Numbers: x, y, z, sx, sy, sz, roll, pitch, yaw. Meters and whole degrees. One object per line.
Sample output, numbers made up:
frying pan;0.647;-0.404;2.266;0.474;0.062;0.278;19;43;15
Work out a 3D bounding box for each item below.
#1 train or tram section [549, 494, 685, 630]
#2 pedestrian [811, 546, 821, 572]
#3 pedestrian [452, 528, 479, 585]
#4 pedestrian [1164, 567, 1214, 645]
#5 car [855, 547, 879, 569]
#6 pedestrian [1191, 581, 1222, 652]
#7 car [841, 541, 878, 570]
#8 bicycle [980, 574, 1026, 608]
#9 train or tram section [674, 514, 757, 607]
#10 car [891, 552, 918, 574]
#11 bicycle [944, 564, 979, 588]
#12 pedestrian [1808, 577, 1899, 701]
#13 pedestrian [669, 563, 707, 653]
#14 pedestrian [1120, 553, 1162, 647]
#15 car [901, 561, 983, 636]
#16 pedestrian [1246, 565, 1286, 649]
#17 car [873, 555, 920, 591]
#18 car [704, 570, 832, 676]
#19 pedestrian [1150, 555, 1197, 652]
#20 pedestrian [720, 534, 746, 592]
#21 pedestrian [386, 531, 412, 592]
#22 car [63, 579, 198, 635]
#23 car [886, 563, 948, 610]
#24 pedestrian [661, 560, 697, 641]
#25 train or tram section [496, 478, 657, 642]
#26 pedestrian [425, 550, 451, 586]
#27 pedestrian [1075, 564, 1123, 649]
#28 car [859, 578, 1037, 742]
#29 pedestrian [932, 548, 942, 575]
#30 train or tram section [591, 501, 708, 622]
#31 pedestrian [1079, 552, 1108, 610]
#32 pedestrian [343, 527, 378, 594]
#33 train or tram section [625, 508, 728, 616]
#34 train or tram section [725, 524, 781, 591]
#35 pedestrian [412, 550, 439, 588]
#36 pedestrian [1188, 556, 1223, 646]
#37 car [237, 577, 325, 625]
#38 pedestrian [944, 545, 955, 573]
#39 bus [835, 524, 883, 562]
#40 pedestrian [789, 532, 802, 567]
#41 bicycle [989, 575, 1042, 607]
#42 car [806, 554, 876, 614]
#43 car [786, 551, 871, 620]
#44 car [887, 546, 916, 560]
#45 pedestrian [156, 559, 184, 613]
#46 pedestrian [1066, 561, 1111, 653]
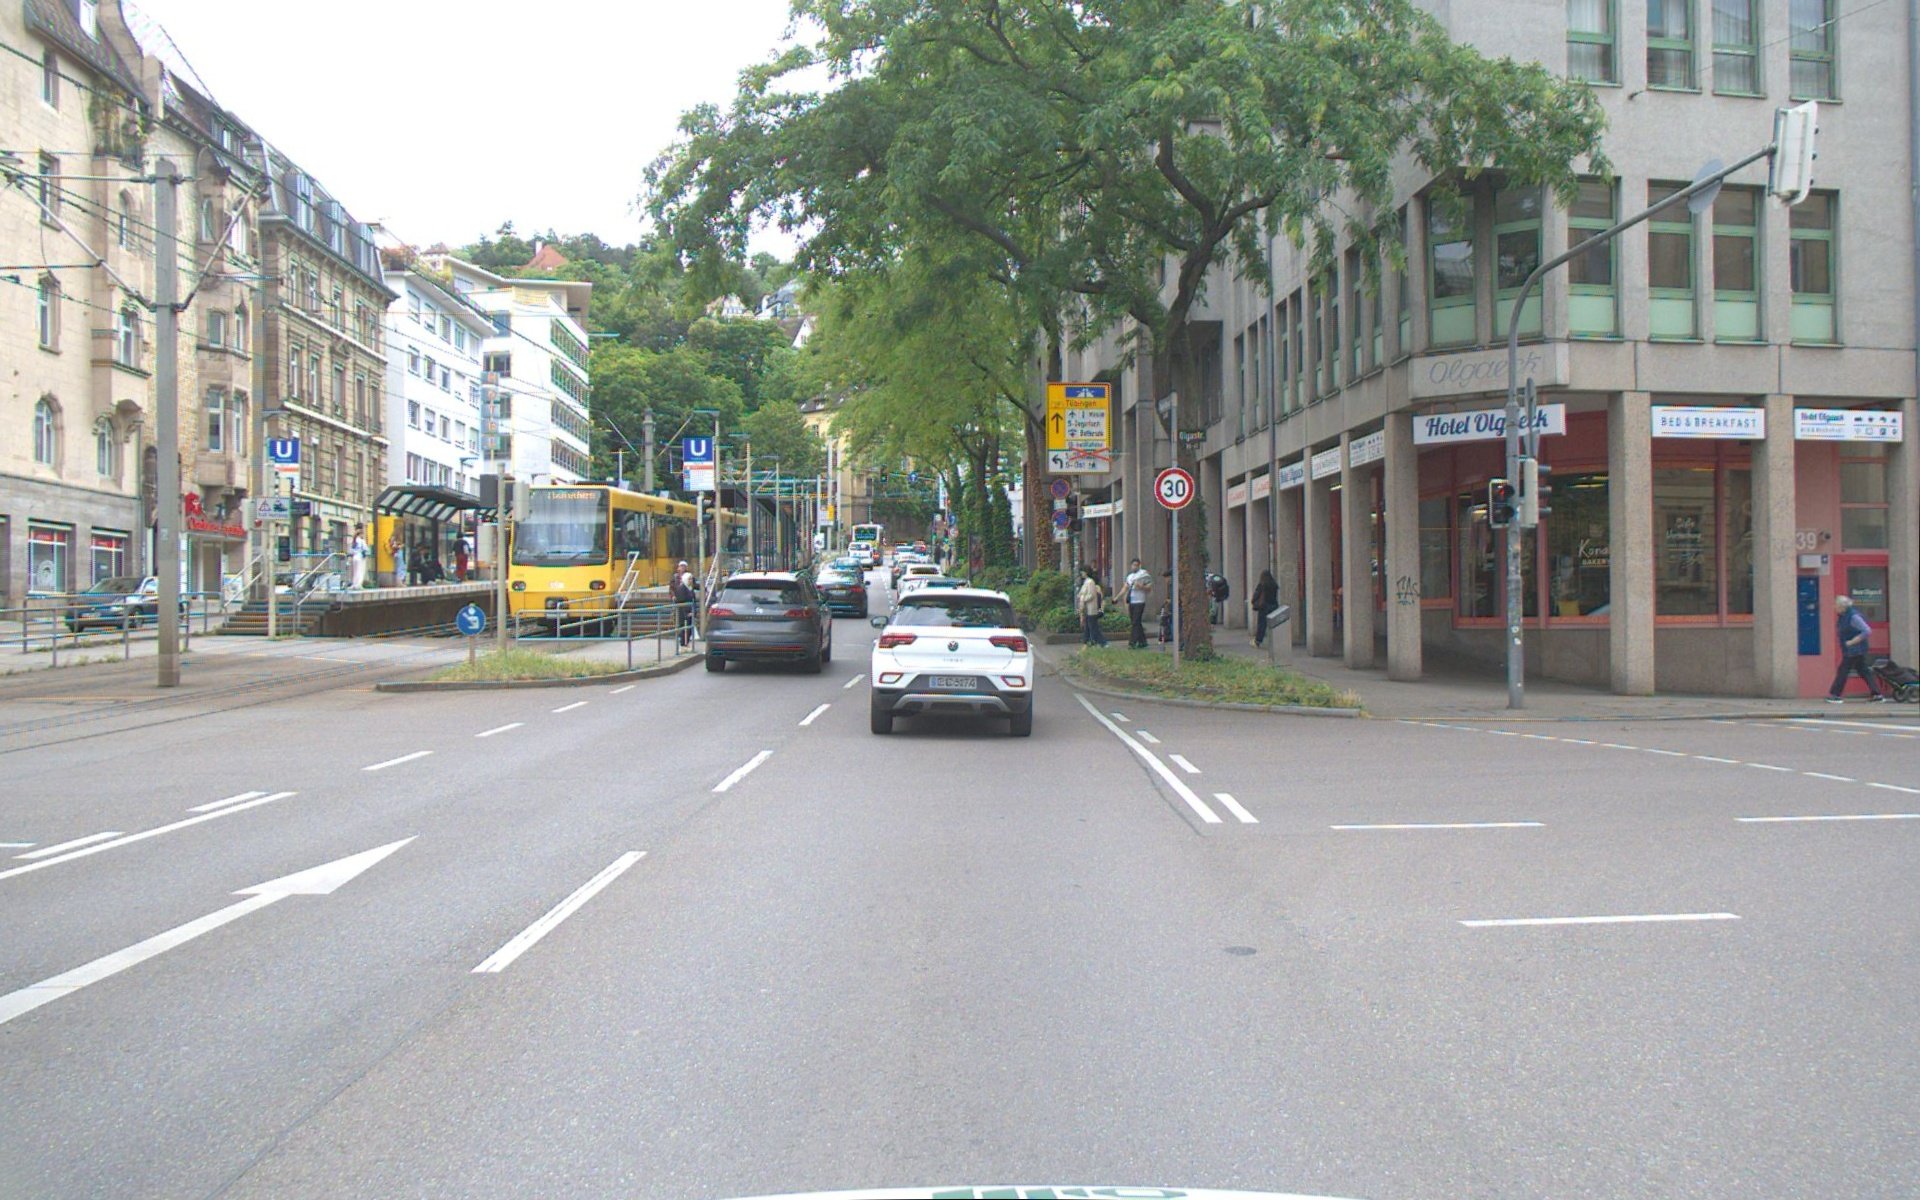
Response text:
train or tram section;-9.616;-1.061;47.012;2.778;3.582;5.750;1;1;-2
pedestrian;-11.500;-3.262;132.227;0.746;2.049;0.838;1;0;-2
pedestrian;-15.670;-1.357;52.383;0.614;1.793;0.846;0;0;-1
pedestrian;4.703;0.122;34.018;0.819;1.590;0.763;1;0;-7
car;-7.543;-3.398;134.634;1.847;1.713;4.159;1;0;-2
pedestrian;4.713;0.312;31.640;0.462;1.357;0.519;1;0;-7
car;-7.469;-3.299;123.485;2.316;2.049;5.149;1;0;1
bicycle;1.552;-0.334;59.577;1.586;1.147;0.613;-2;1;1
train or tram section;-10.310;-1.646;70.129;2.756;3.730;5.901;1;1;-2
car;-4.513;-2.981;133.566;1.849;1.713;4.155;1;0;-7
bicycle;0.091;-1.341;91.497;1.841;1.288;0.765;1;0;8
pedestrian;12.916;0.545;23.911;1.102;1.742;0.854;0;0;32
pedestrian;-5.329;0.138;32.459;0.622;1.741;0.871;0;1;-3
pedestrian;3.709;0.000;33.965;0.719;1.907;0.732;0;0;-7
car;-0.496;-0.042;40.762;1.847;1.713;4.159;1;0;-3
pedestrian;6.161;0.130;33.328;0.745;1.640;0.619;-1;3;9
car;-3.852;-1.585;99.518;2.320;2.049;5.140;1;0;-7
car;-3.254;0.341;28.755;1.954;1.664;3.998;0;2;-3
pedestrian;4.189;0.066;32.524;0.707;1.834;0.833;-2;3;-7
pedestrian;-7.032;-1.143;51.313;0.703;1.761;0.670;1;0;-1
pedestrian;-16.001;-1.092;47.186;0.624;1.741;0.688;0;1;-11
car;-22.327;0.166;44.684;1.598;1.399;3.784;-2;0;2
car;-1.686;-0.515;63.631;1.850;1.713;4.153;1;0;-9
pedestrian;-6.060;-0.001;35.647;0.671;1.741;0.711;0;1;-3
train or tram section;-9.430;-0.973;41.250;2.778;3.743;5.750;1;1;-2
pedestrian;-16.320;-0.996;51.733;0.622;1.127;0.690;0;1;-3
pedestrian;2.895;0.127;34.558;0.820;1.733;0.763;-2;1;-7
car;-0.071;0.587;19.034;1.799;1.611;4.158;1;1;1
pedestrian;-1.836;-3.069;131.955;0.746;2.049;0.839;1;0;3
train or tram section;-9.796;-1.215;52.762;2.778;3.582;5.750;1;1;-2
pedestrian;4.303;-0.624;53.505;0.747;1.813;0.847;-2;3;-8
pedestrian;-15.633;-1.025;43.136;0.674;1.741;0.661;0;1;-3
train or tram section;-9.953;-1.339;58.540;2.778;3.582;5.750;1;1;-2
train or tram section;-12.142;-2.463;97.274;2.757;3.730;6.747;1;1;-3
pedestrian;-16.242;-0.945;50.274;0.622;1.127;0.690;0;1;-3
pedestrian;5.076;0.018;34.243;0.508;1.820;0.763;1;0;-6
car;-23.332;0.026;56.946;1.527;1.550;3.599;1;0;-1
pedestrian;-0.803;-3.051;123.371;0.746;2.049;0.839;1;0;3
bus;-9.666;-5.304;156.613;3.309;3.118;13.297;1;0;-9
pedestrian;-9.925;-3.027;99.737;0.748;2.049;0.836;1;0;-9
bicycle;2.038;-0.340;60.820;1.878;1.095;0.613;-2;1;-5
car;-3.648;-0.541;51.250;1.873;1.718;4.000;1;2;0
car;-4.151;-0.444;53.160;2.316;2.049;5.147;1;0;-1
car;-5.456;-4.433;155.037;1.549;1.193;3.680;1;0;18
pedestrian;-26.497;-0.472;55.462;0.624;1.793;0.832;0;0;-45
pedestrian;2.611;0.135;33.713;0.680;1.808;0.688;-4;1;-7
